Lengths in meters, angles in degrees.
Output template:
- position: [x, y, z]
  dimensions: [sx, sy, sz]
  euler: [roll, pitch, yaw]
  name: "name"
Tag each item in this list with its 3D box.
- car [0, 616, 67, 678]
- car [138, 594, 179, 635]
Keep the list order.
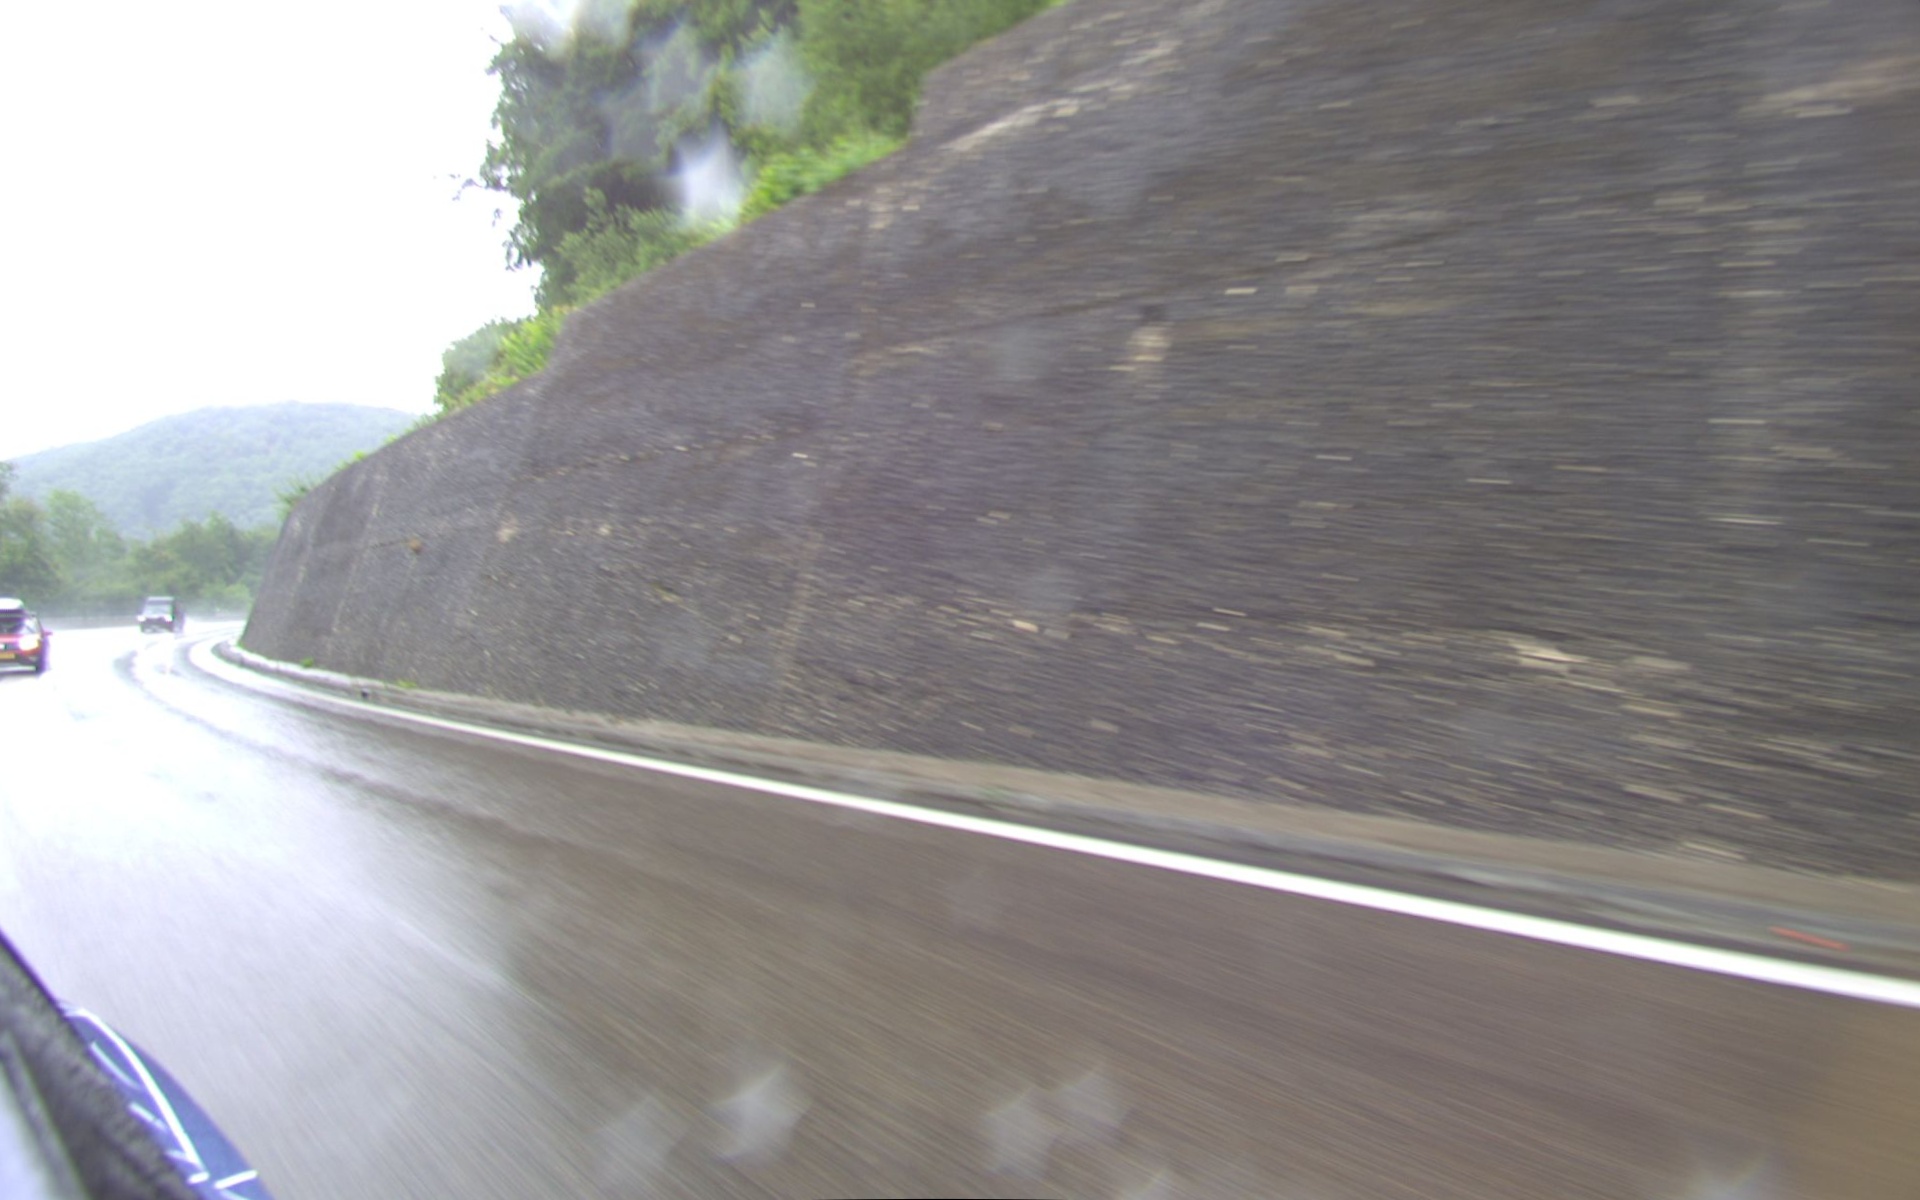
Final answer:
- position: [-26.557, 1.275, 28.157]
  dimensions: [2.324, 1.570, 5.508]
  euler: [-1, 0, -39]
  name: "car"
- position: [-60.721, 1.101, 76.697]
  dimensions: [1.713, 3.048, 4.013]
  euler: [0, -1, -27]
  name: "car"
